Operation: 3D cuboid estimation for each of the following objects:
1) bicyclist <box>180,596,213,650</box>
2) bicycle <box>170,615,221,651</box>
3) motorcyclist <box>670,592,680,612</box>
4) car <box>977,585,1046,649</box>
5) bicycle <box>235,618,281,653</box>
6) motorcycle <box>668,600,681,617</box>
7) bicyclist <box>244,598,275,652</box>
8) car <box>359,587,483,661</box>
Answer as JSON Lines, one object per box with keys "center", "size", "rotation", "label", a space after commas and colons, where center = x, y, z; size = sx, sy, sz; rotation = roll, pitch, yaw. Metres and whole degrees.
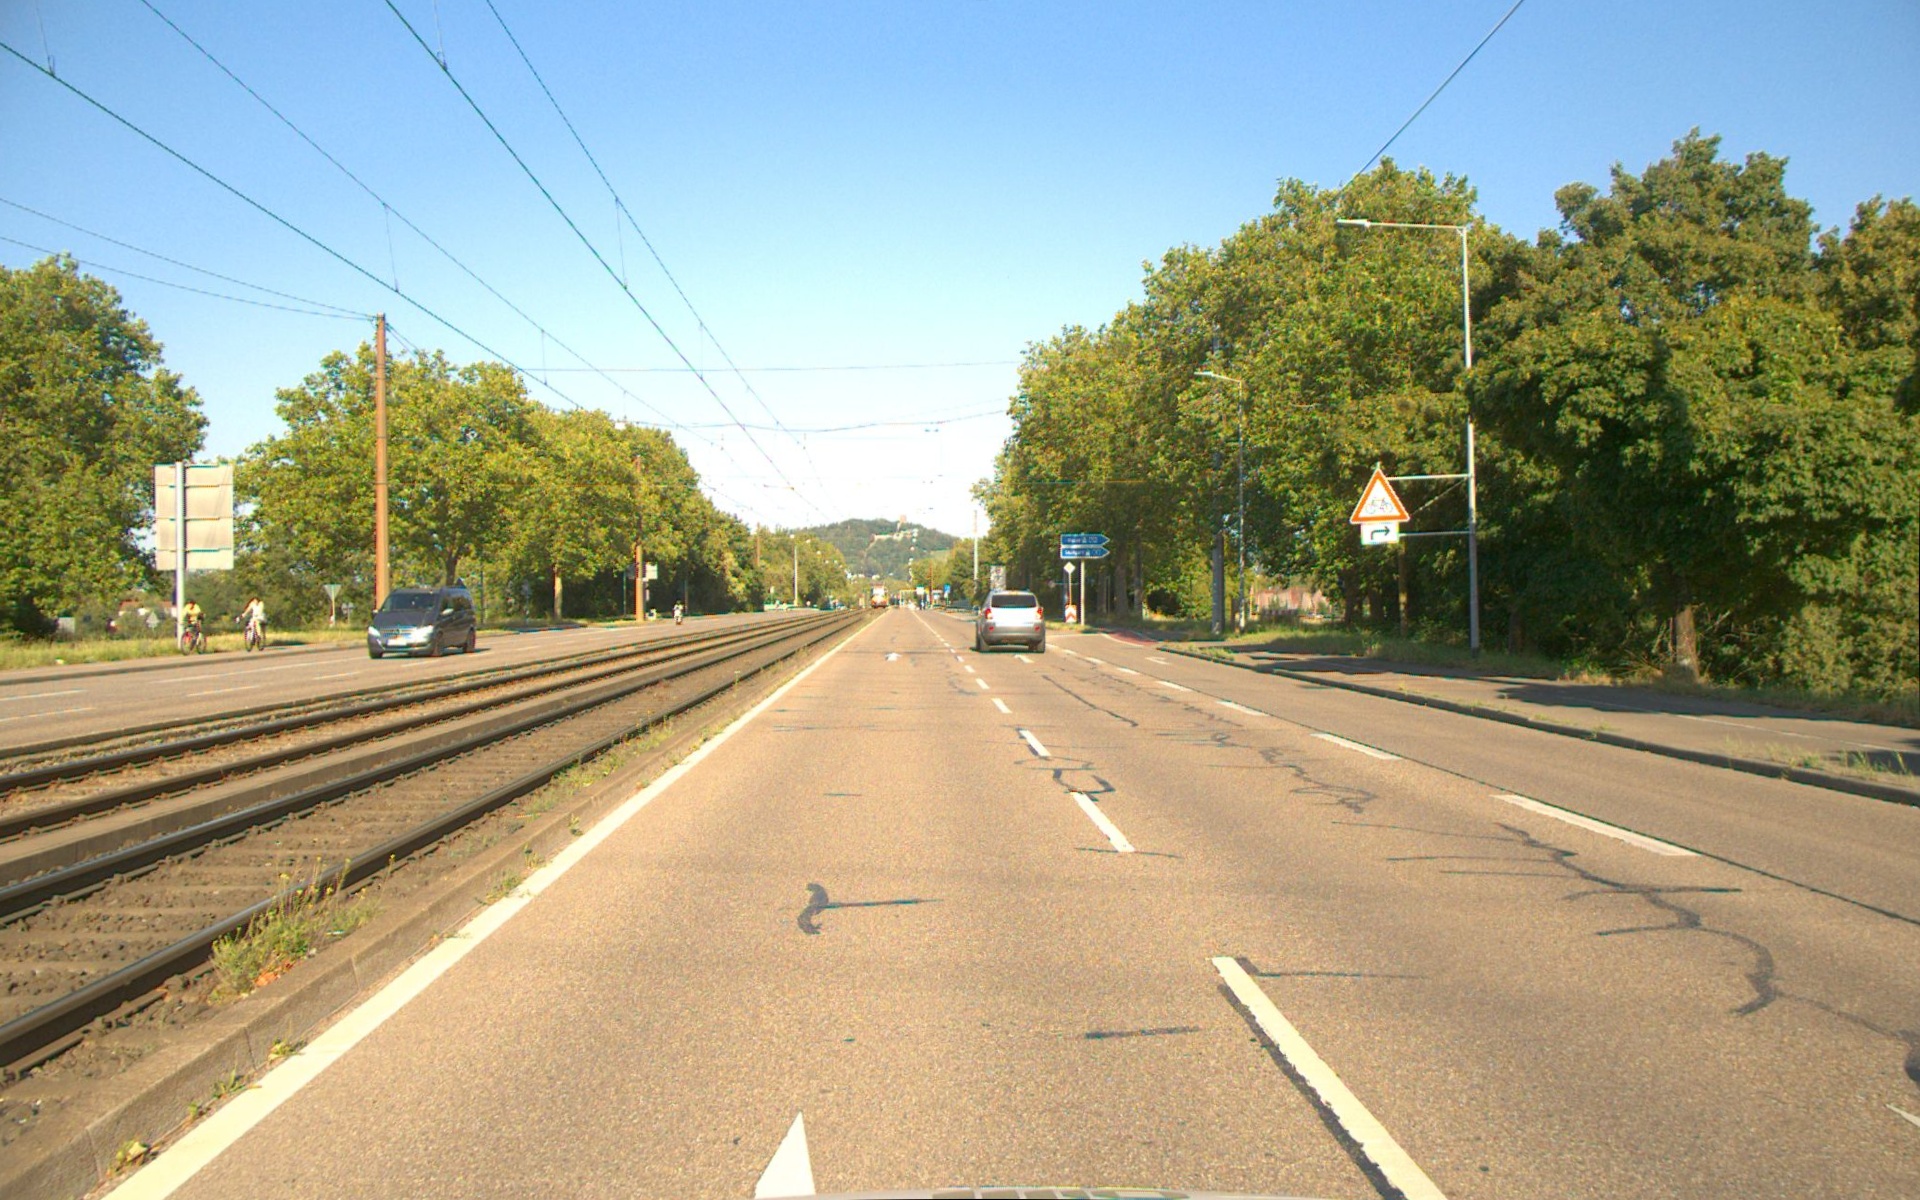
{"center": [-22.577, 0.674, 48.915], "size": [0.578, 1.555, 0.905], "rotation": [0, -1, -3], "label": "bicyclist"}
{"center": [-22.576, 0.955, 48.895], "size": [0.578, 1.040, 2.184], "rotation": [0, 0, -3], "label": "bicycle"}
{"center": [-18.361, 0.143, 106.521], "size": [0.525, 1.292, 0.804], "rotation": [2, -1, -2], "label": "motorcyclist"}
{"center": [1.418, 0.478, 46.997], "size": [1.849, 1.723, 4.256], "rotation": [0, 0, 0], "label": "car"}
{"center": [-21.544, 1.075, 50.808], "size": [0.578, 1.040, 2.184], "rotation": [0, 0, -3], "label": "bicycle"}
{"center": [-18.373, 0.553, 106.475], "size": [0.525, 1.110, 1.901], "rotation": [2, 0, -2], "label": "motorcycle"}
{"center": [-21.544, 0.766, 50.887], "size": [0.578, 1.639, 0.966], "rotation": [0, -1, -3], "label": "bicyclist"}
{"center": [-15.100, 0.661, 46.609], "size": [1.953, 1.956, 4.859], "rotation": [-1, 0, -1], "label": "car"}
